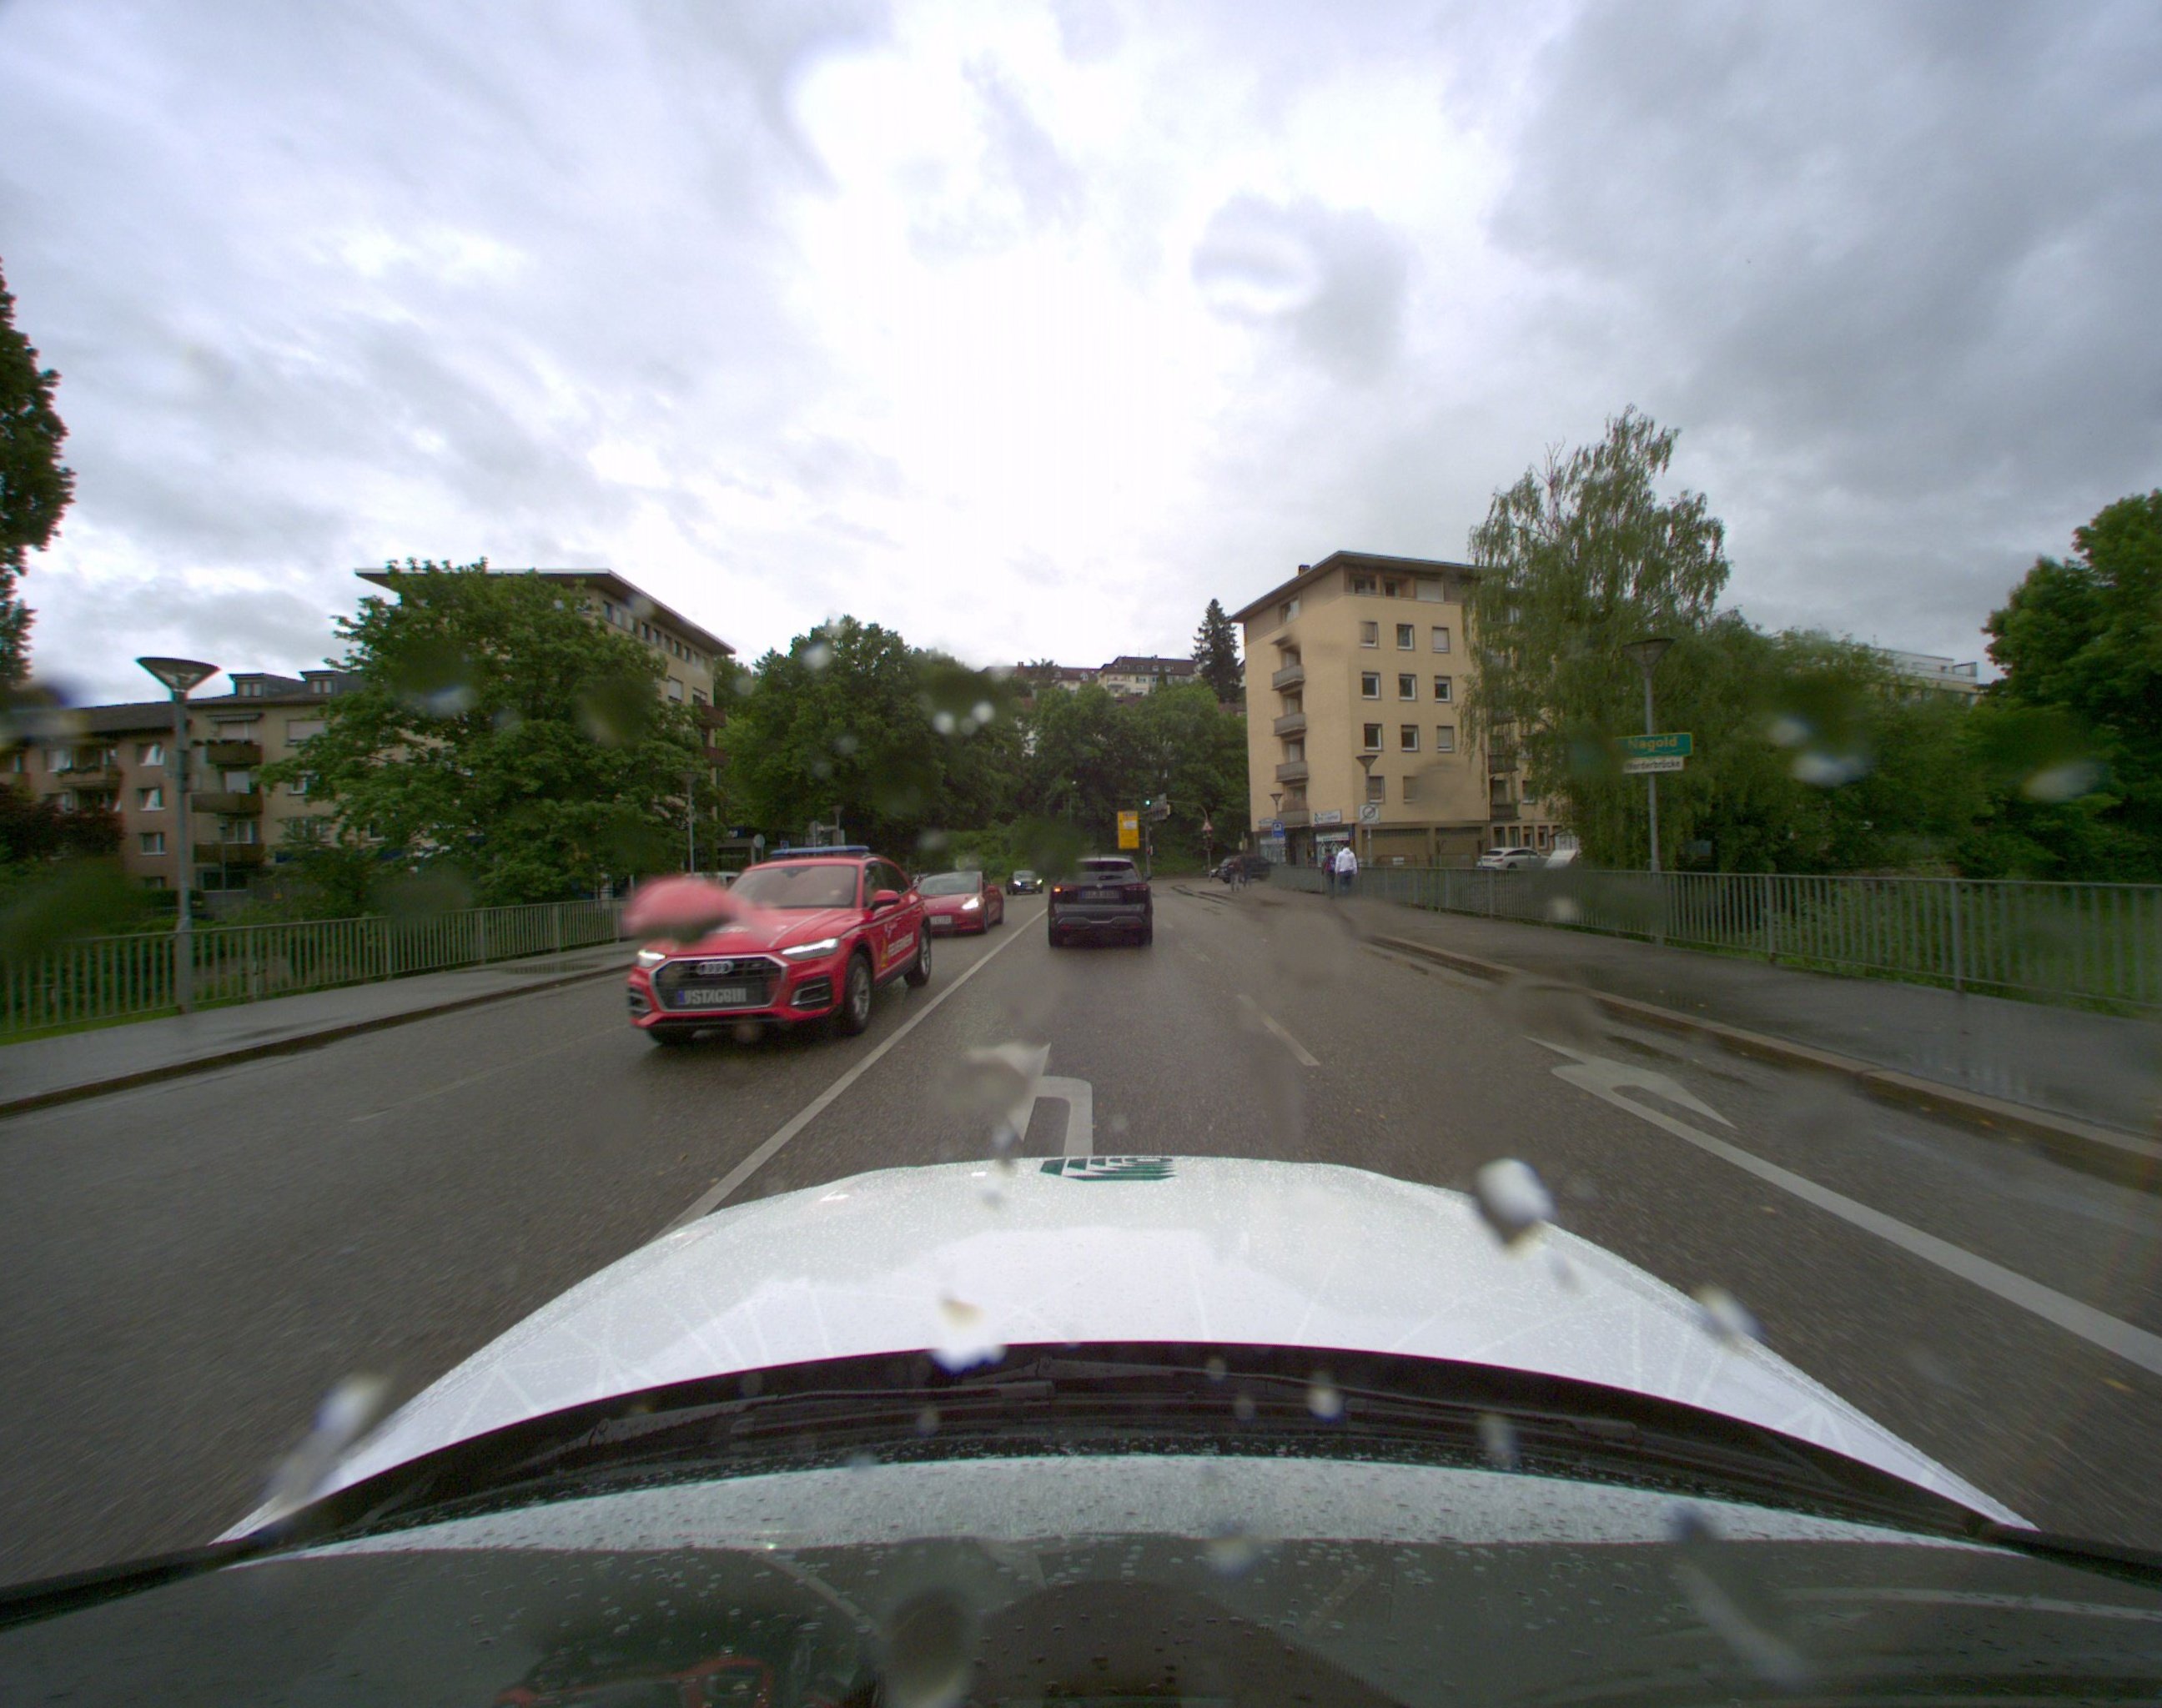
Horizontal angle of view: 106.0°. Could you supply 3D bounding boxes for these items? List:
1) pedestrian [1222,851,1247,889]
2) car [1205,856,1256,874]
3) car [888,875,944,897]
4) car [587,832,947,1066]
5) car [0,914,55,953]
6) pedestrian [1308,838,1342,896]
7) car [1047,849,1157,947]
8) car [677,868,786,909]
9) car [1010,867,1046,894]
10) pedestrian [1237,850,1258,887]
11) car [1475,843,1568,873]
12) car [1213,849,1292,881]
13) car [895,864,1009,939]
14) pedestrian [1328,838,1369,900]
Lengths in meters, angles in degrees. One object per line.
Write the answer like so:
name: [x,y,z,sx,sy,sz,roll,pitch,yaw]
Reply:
pedestrian: [6.844,0.709,36.349,0.859,1.619,0.840,-3,-1,1]
car: [14.265,1.047,77.863,4.325,1.502,1.877,-3,-1,-10]
car: [-12.177,2.393,60.258,3.650,1.420,1.636,-3,-1,11]
car: [-2.828,0.755,8.569,1.881,1.735,4.373,-3,0,2]
car: [-53.497,3.936,39.335,4.738,1.653,1.995,-2,1,-8]
pedestrian: [7.826,0.420,26.137,0.758,1.809,0.781,-3,-1,1]
car: [0.398,0.750,15.528,1.804,1.603,4.001,-1,-1,1]
car: [-18.010,1.757,42.140,4.738,1.854,1.995,-2,1,-8]
car: [-3.214,1.562,48.855,1.709,1.416,4.080,-3,-1,-9]
pedestrian: [7.886,0.676,38.554,0.758,1.677,0.781,-4,0,1]
car: [23.962,0.183,44.367,4.447,1.376,1.808,-3,2,-15]
car: [10.410,0.674,49.467,4.388,1.649,1.868,-3,-1,-25]
car: [-2.850,1.005,18.886,1.775,1.402,4.220,-3,0,2]
pedestrian: [7.766,0.436,23.702,0.777,1.752,1.061,-2,-1,1]
